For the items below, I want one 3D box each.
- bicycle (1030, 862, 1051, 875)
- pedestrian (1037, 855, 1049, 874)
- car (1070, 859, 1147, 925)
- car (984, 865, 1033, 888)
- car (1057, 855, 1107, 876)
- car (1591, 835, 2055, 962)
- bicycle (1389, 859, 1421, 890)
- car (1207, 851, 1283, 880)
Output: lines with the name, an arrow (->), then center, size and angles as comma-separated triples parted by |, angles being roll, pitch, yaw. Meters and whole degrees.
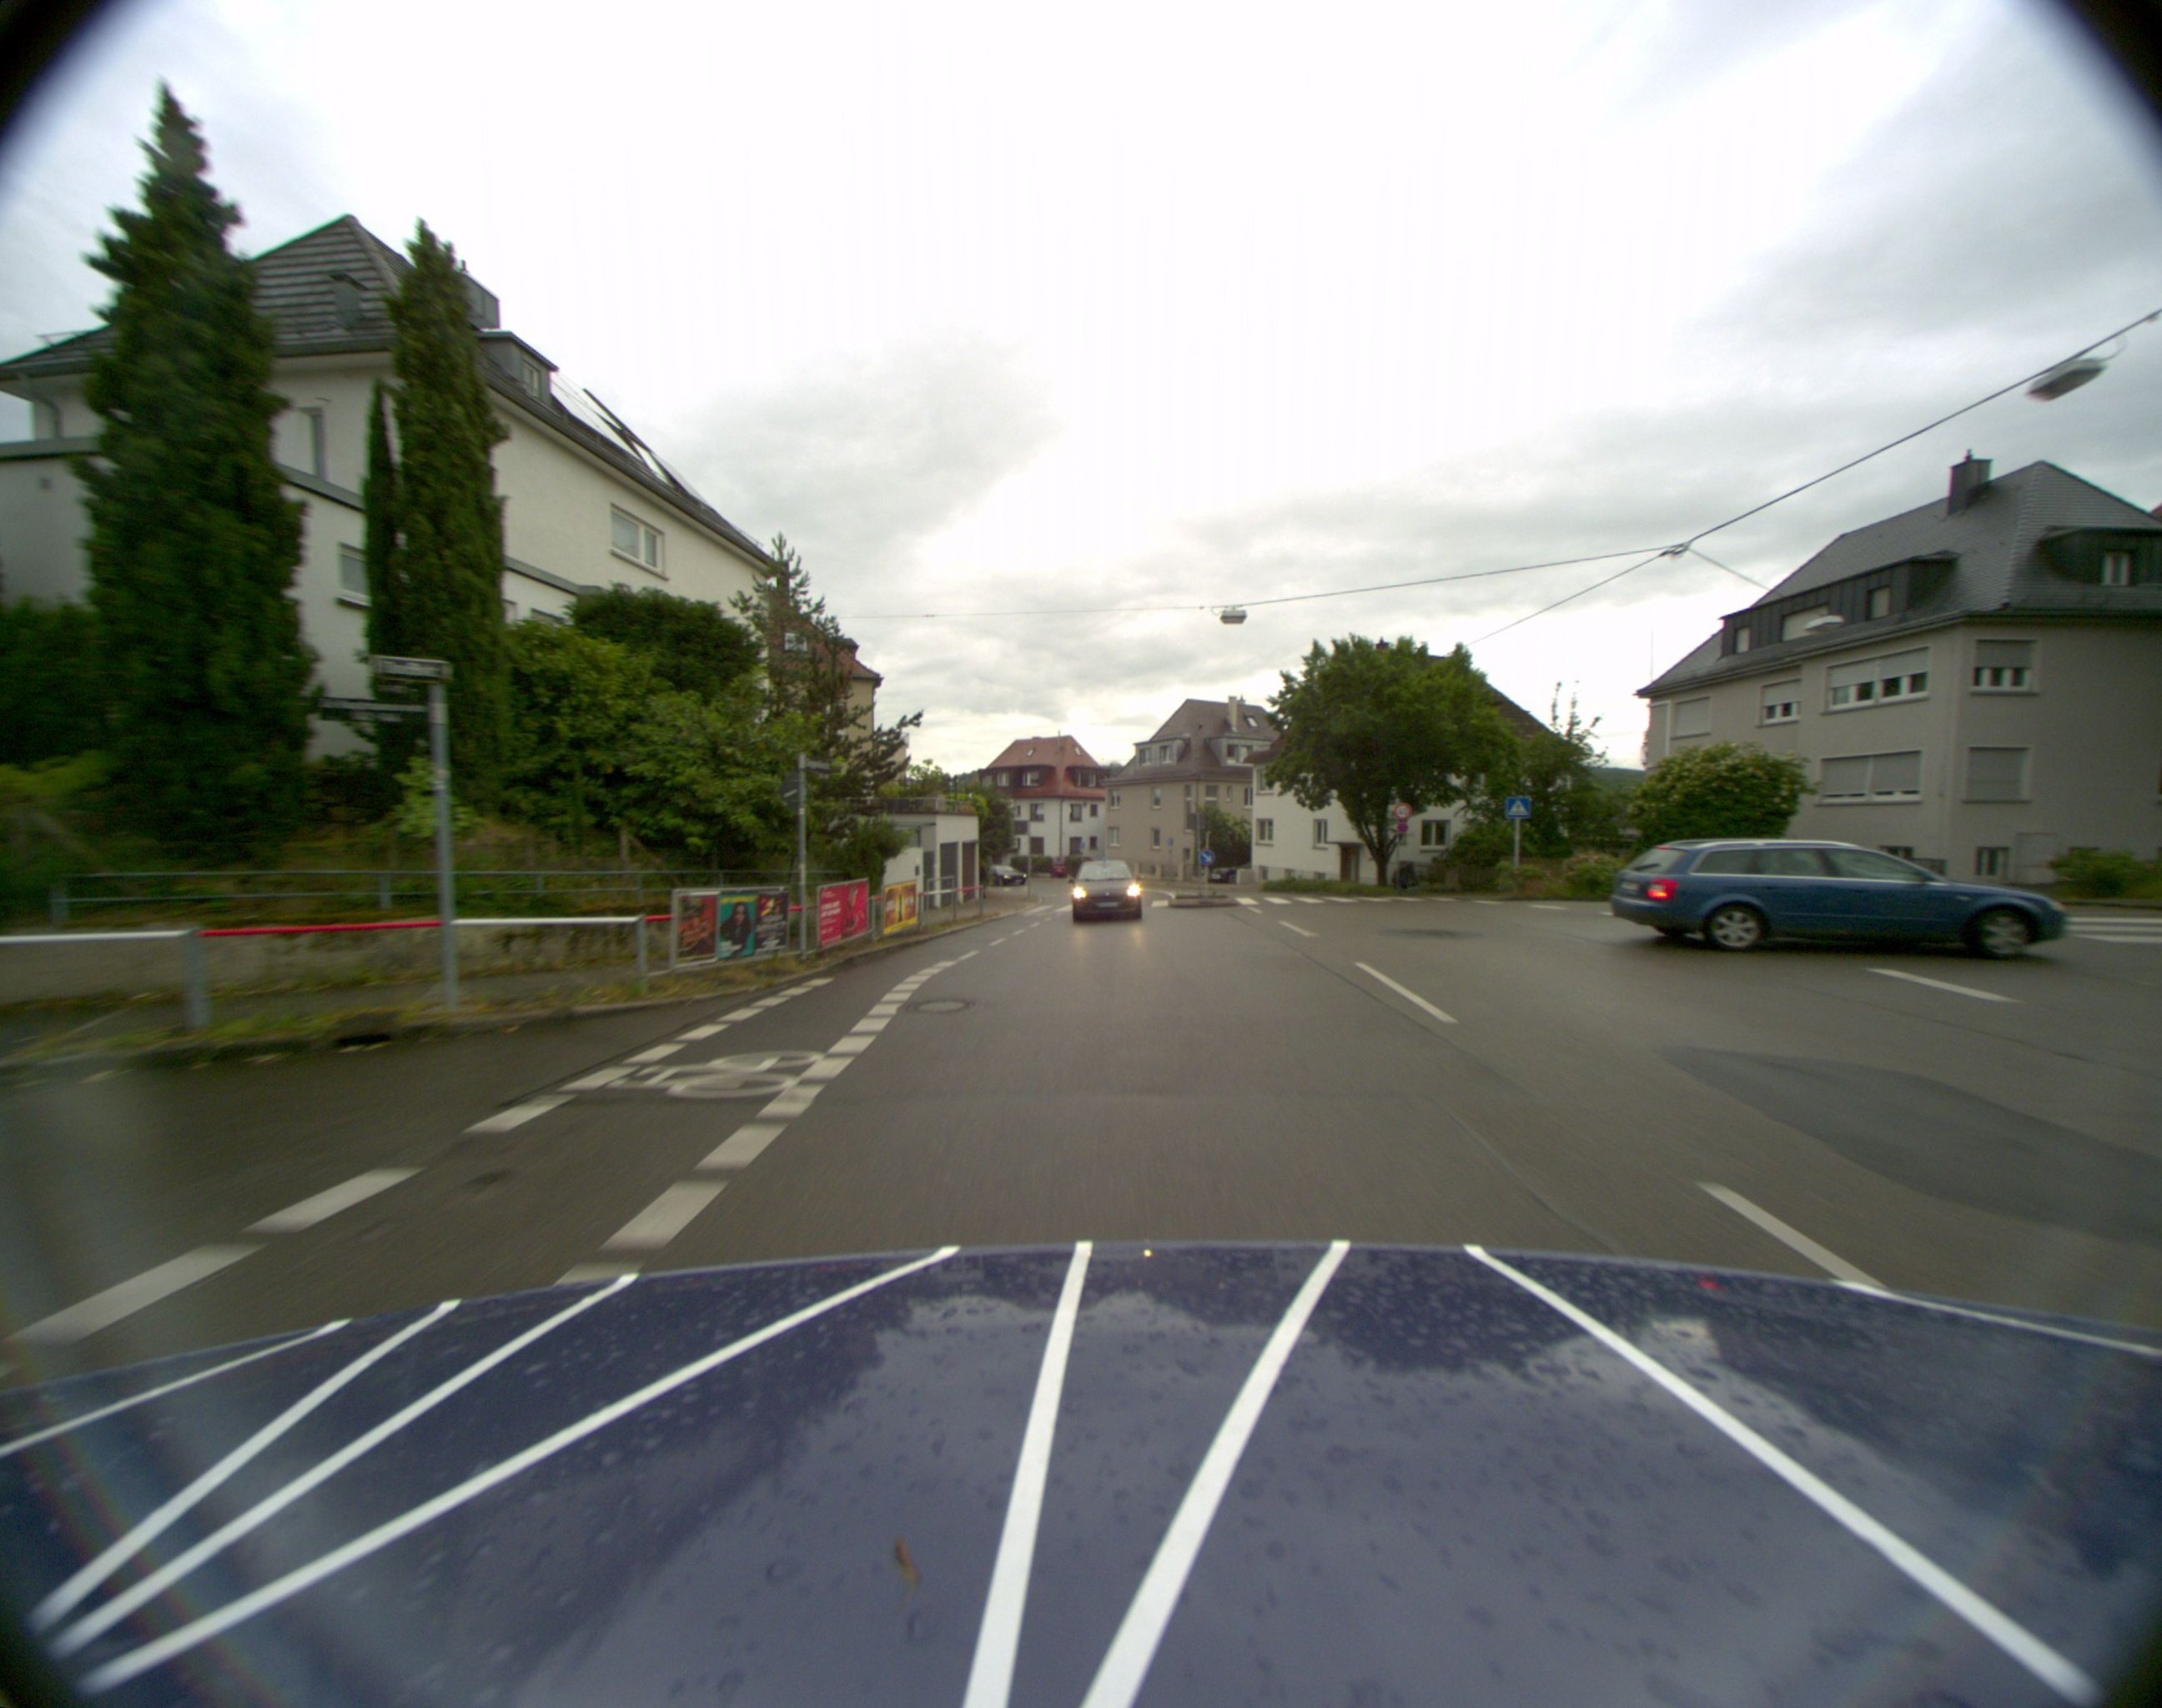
bicycle -> -3.561, 1.255, 67.032 | 1.916, 1.061, 0.458 | -2, 3, 35
pedestrian -> -3.422, 0.950, 67.797 | 0.493, 1.568, 0.949 | -2, 3, 35
car -> 0.795, 0.911, 19.328 | 1.680, 1.404, 3.639 | -4, -1, 5
car -> -5.141, 1.575, 53.448 | 1.965, 1.477, 4.196 | -2, 0, -27
car -> 0.109, 1.019, 65.673 | 1.994, 1.811, 4.009 | -2, -2, 44
car -> 9.596, 0.491, 10.281 | 4.073, 1.432, 1.818 | 0, 3, 16
bicycle -> 11.805, 0.742, 27.745 | 0.421, 1.078, 1.964 | -3, -2, 4
car -> 10.488, 0.726, 48.674 | 4.257, 1.614, 1.997 | -3, 1, -19
